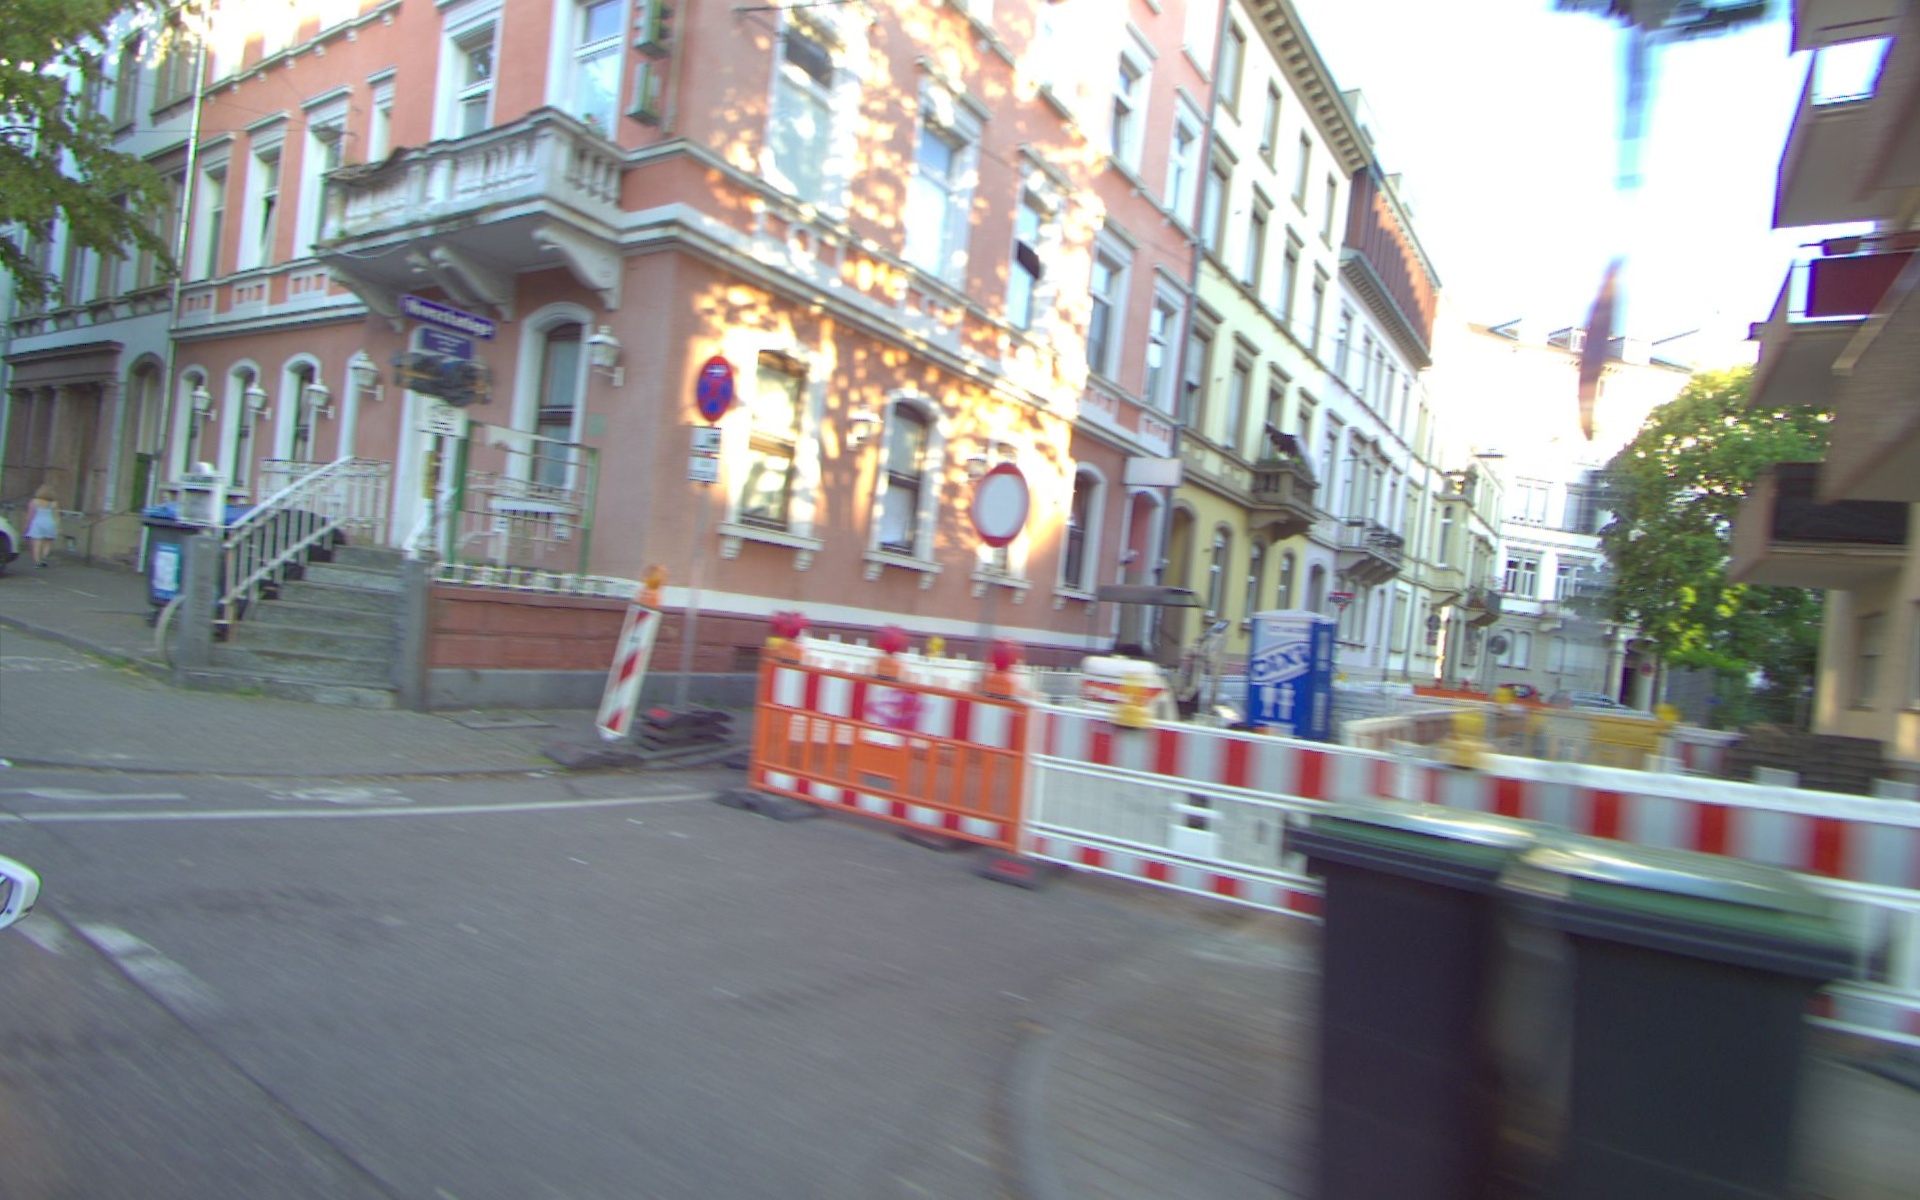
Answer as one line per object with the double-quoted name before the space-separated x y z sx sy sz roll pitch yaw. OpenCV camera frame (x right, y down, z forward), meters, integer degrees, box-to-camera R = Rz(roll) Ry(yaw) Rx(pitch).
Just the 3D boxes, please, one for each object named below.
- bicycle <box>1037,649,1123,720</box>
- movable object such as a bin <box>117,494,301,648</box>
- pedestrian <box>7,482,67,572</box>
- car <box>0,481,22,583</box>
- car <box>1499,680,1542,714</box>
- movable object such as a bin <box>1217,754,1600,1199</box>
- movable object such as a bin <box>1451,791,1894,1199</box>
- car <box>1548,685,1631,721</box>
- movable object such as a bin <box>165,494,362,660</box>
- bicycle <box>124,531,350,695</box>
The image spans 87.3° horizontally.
"bicycle" 2.156 1.508 18.189 1.375 1.089 0.462 7 2 34
"movable object such as a bin" -8.477 -0.318 11.363 1.376 1.520 1.142 7 0 33
"pedestrian" -17.723 -1.394 19.318 0.614 1.629 0.587 7 0 33
"car" -16.416 -1.164 14.621 1.642 1.648 3.953 6 1 3
"car" 28.288 4.860 50.719 1.508 1.438 3.688 6 0 33
"movable object such as a bin" 1.216 1.048 2.699 0.791 1.167 0.581 7 0 -45
"movable object such as a bin" 1.491 1.052 2.120 0.710 1.167 0.581 7 0 -45
"car" 33.879 5.559 54.127 4.179 1.438 1.525 7 0 -22
"movable object such as a bin" -7.311 -0.230 10.568 1.376 1.520 1.142 7 0 33
"bicycle" -6.471 0.117 9.157 0.590 1.282 1.918 6 0 -1
